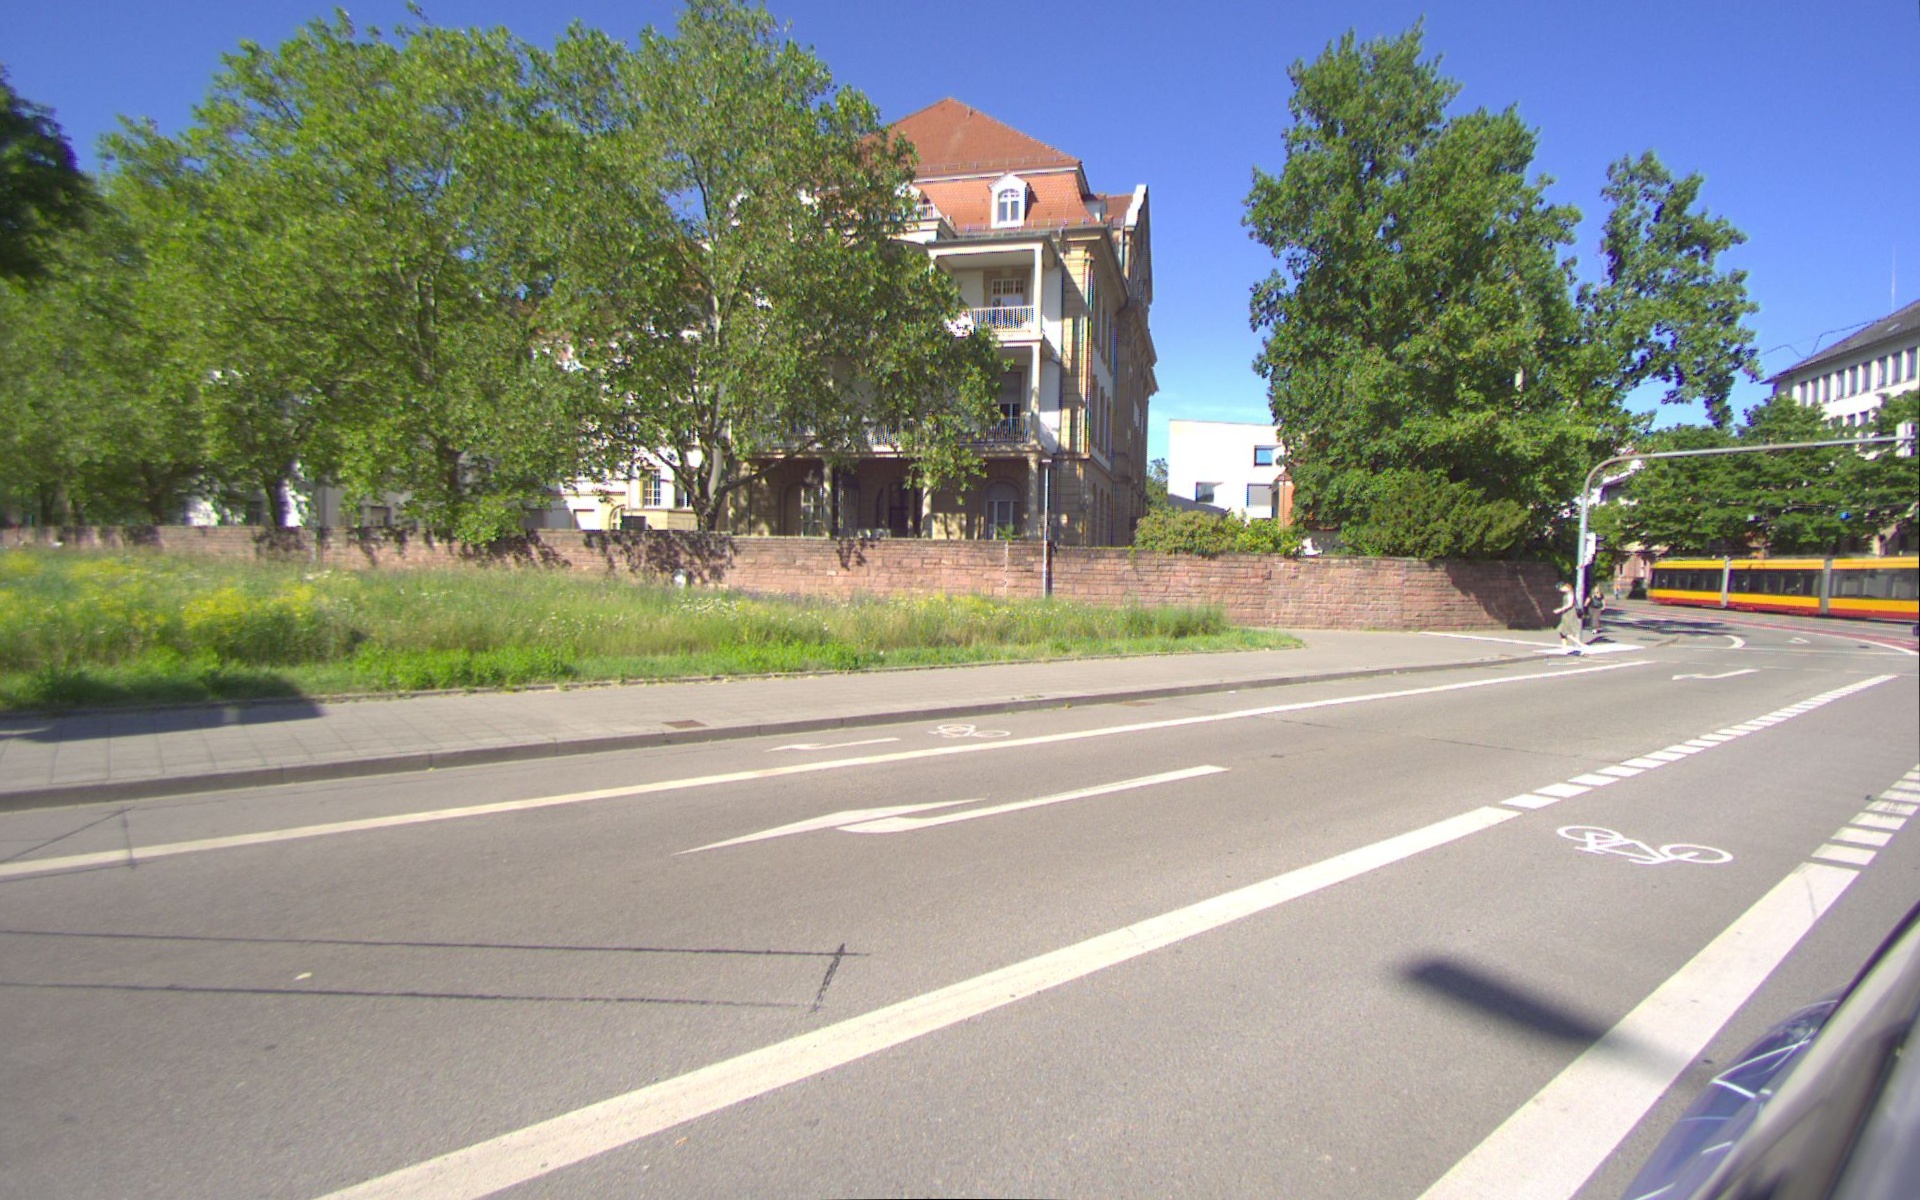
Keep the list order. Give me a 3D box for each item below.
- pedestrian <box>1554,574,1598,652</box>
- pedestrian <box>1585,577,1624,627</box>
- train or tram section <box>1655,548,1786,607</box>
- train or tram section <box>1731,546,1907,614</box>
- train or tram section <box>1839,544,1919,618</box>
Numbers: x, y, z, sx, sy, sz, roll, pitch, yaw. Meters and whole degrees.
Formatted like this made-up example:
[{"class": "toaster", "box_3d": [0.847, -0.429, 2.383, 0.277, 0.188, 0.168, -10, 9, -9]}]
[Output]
[{"class": "pedestrian", "box_3d": [15.134, 0.300, 24.872, 0.620, 1.881, 0.785, 1, 1, 11]}, {"class": "pedestrian", "box_3d": [22.289, 0.045, 34.987, 0.618, 1.687, 0.933, 0, 2, -35]}, {"class": "train or tram section", "box_3d": [53.004, -1.628, 71.083, 2.898, 3.728, 11.630, 2, 2, 14]}, {"class": "train or tram section", "box_3d": [50.234, -1.235, 59.818, 2.898, 3.563, 11.630, 2, 2, 14]}, {"class": "train or tram section", "box_3d": [47.343, -0.865, 47.446, 2.897, 3.563, 13.790, 2, 2, 13]}]
